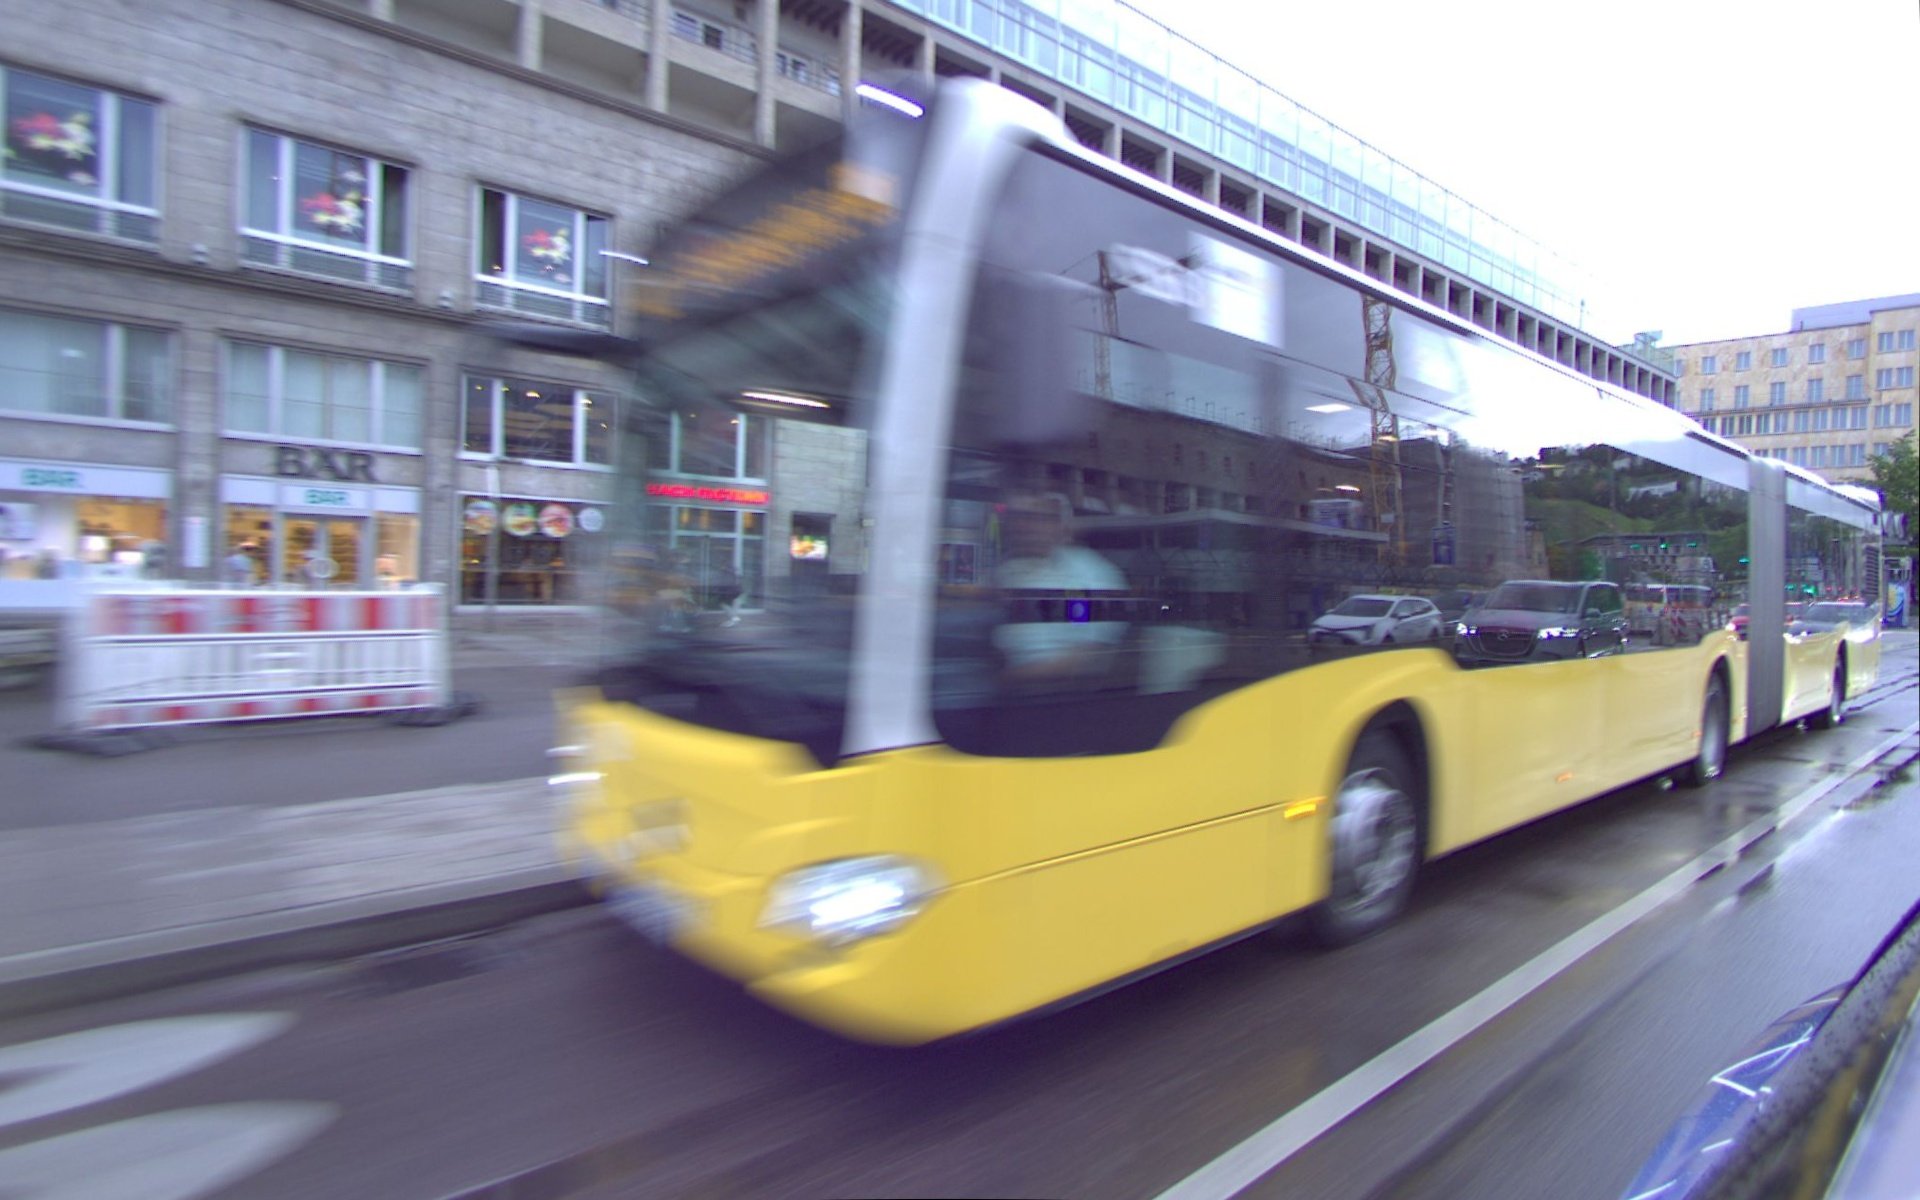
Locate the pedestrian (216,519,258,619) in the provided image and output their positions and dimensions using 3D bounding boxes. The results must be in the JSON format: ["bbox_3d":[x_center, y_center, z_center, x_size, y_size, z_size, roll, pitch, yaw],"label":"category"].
[{"bbox_3d":[-14.323,-0.605,20.056,0.576,1.953,0.474,1,1,-26],"label":"pedestrian"}]

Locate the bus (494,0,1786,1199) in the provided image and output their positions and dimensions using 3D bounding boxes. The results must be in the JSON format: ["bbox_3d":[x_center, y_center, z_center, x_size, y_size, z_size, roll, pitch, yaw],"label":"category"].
[{"bbox_3d":[2.274,-0.099,6.464,9.080,3.245,3.119,-1,1,-41],"label":"bus"}]

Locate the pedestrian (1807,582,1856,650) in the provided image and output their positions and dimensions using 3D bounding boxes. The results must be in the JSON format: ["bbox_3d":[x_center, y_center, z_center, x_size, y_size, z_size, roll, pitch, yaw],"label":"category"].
[{"bbox_3d":[22.561,0.403,26.217,0.755,1.711,0.988,1,1,30],"label":"pedestrian"}]

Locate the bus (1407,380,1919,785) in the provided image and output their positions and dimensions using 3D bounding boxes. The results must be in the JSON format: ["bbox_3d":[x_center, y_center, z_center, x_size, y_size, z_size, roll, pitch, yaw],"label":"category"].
[{"bbox_3d":[9.141,-0.202,12.316,8.973,3.288,3.148,-1,1,-40],"label":"bus"}]

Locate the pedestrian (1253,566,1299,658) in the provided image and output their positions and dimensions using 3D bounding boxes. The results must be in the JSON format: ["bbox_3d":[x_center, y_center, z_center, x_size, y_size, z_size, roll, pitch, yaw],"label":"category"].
[{"bbox_3d":[6.564,0.228,20.999,0.780,1.827,0.985,2,1,22],"label":"pedestrian"}]

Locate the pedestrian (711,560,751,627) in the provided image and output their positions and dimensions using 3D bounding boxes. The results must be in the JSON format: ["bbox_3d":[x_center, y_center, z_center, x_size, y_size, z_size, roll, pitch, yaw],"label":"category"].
[{"bbox_3d":[-5.389,-0.161,23.818,0.682,1.540,0.585,2,1,26],"label":"pedestrian"}]

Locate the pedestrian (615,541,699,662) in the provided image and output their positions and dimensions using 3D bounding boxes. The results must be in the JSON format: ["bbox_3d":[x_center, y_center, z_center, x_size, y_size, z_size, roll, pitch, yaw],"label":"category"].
[{"bbox_3d":[-4.732,0.006,15.829,0.981,1.815,0.783,2,1,22],"label":"pedestrian"}]

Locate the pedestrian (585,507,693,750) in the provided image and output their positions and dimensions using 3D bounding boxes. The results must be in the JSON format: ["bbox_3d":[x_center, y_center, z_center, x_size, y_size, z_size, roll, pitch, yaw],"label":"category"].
[{"bbox_3d":[-2.295,0.186,7.237,0.592,1.639,0.504,1,1,40],"label":"pedestrian"}]
